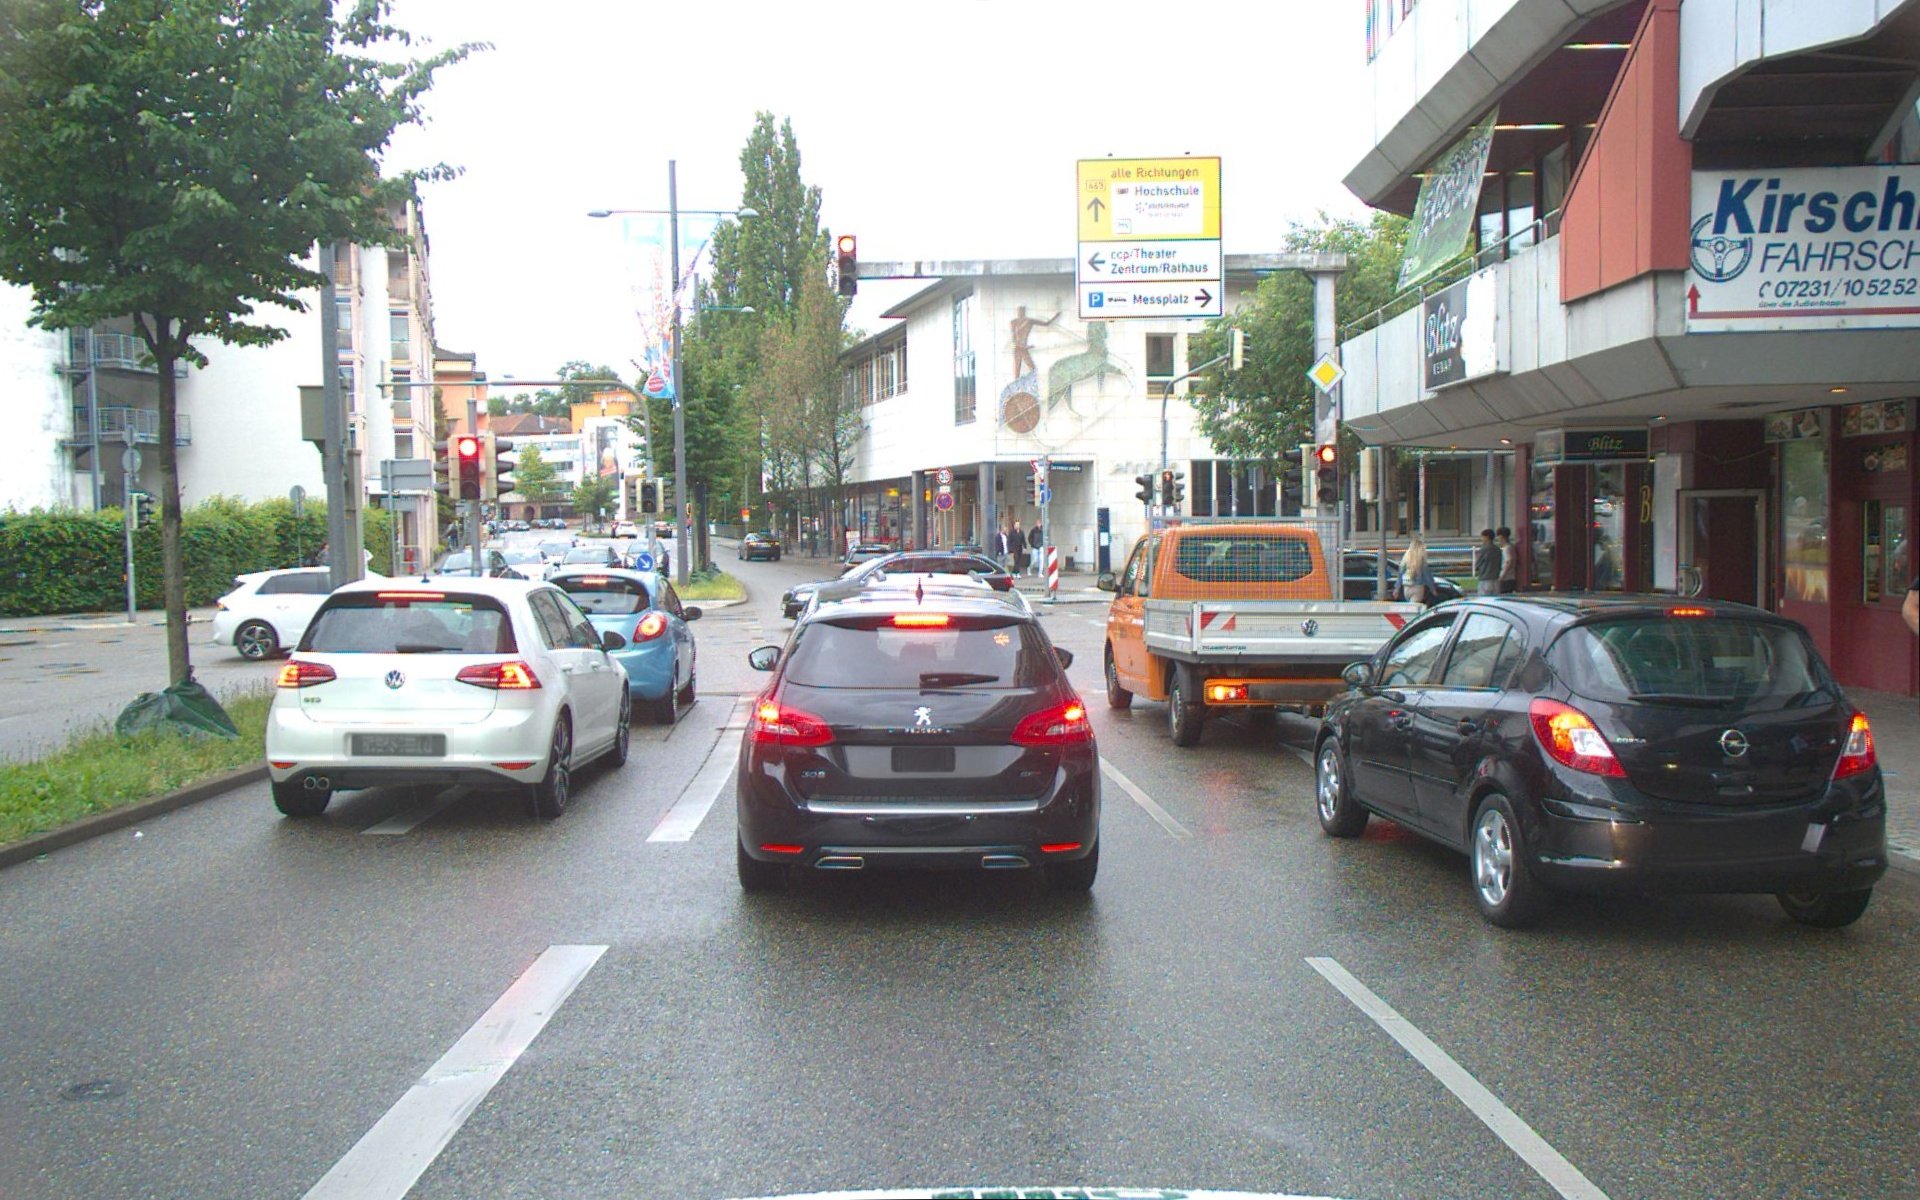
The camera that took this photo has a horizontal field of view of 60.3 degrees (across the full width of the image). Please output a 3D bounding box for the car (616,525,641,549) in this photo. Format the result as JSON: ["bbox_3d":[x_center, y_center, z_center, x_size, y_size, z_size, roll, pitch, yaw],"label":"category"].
[{"bbox_3d":[-29.200,-5.539,145.601,1.679,1.915,3.980,1,-1,-18],"label":"car"}]

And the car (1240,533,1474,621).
[{"bbox_3d":[7.779,-0.468,32.504,4.152,1.592,1.700,-1,1,-12],"label":"car"}]

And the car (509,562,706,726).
[{"bbox_3d":[-3.589,0.382,17.357,1.601,1.512,3.606,1,2,-6],"label":"car"}]

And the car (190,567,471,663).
[{"bbox_3d":[-10.411,0.230,27.670,4.221,1.512,1.632,0,1,-15],"label":"car"}]

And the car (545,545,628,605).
[{"bbox_3d":[-10.720,-0.682,47.752,1.710,1.607,3.996,1,-1,-4],"label":"car"}]

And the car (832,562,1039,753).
[{"bbox_3d":[-0.230,0.426,15.303,1.662,1.512,3.793,1,2,-1],"label":"car"}]

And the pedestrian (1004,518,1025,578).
[{"bbox_3d":[1.795,-1.721,54.662,0.623,1.930,0.734,1,-1,6],"label":"pedestrian"}]

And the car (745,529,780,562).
[{"bbox_3d":[-10.599,-2.880,88.563,1.693,1.516,4.722,1,-1,-9],"label":"car"}]

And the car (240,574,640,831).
[{"bbox_3d":[-3.351,0.566,11.416,1.742,1.454,3.840,1,1,-4],"label":"car"}]

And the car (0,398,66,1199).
[{"bbox_3d":[-3.042,0.453,1.435,1.873,1.903,5.071,1,-1,-2],"label":"car"}]

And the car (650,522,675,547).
[{"bbox_3d":[-26.417,-5.777,146.904,1.679,1.970,3.980,1,-1,-18],"label":"car"}]

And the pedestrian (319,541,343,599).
[{"bbox_3d":[-19.503,-0.923,51.297,0.528,1.778,0.564,1,-1,-6],"label":"pedestrian"}]

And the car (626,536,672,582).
[{"bbox_3d":[-12.283,-1.584,65.244,1.713,1.669,3.989,1,-1,-11],"label":"car"}]

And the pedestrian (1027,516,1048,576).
[{"bbox_3d":[2.554,-1.760,54.352,0.623,1.930,0.734,1,-1,6],"label":"pedestrian"}]

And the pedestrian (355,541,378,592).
[{"bbox_3d":[-20.517,-1.154,57.186,0.584,1.758,0.655,1,-1,-9],"label":"pedestrian"}]

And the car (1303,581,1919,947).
[{"bbox_3d":[3.102,0.653,8.681,1.584,1.454,3.839,1,1,-4],"label":"car"}]

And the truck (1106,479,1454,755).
[{"bbox_3d":[2.821,0.075,15.910,2.133,2.210,5.018,1,2,-3],"label":"truck"}]

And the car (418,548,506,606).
[{"bbox_3d":[-13.741,-0.656,45.806,1.543,1.512,3.607,1,2,-4],"label":"car"}]

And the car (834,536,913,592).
[{"bbox_3d":[-2.587,-1.146,50.466,1.749,1.479,4.511,-2,3,5],"label":"car"}]

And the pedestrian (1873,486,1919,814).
[{"bbox_3d":[5.744,0.269,9.308,0.726,1.847,0.774,-4,-1,11],"label":"pedestrian"}]

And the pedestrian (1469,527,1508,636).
[{"bbox_3d":[8.422,-0.293,26.388,0.417,1.712,0.450,-1,-1,-2],"label":"pedestrian"}]

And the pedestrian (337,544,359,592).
[{"bbox_3d":[-20.970,-1.094,56.650,0.569,1.627,0.526,1,-1,-7],"label":"pedestrian"}]

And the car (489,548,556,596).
[{"bbox_3d":[-14.199,-0.931,53.872,1.602,1.512,3.605,1,2,-7],"label":"car"}]

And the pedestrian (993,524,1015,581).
[{"bbox_3d":[1.409,-1.510,53.120,0.623,1.788,0.734,1,-1,6],"label":"pedestrian"}]

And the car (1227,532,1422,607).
[{"bbox_3d":[7.905,-0.633,35.928,3.828,1.512,1.618,1,-1,-13],"label":"car"}]

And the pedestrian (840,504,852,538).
[{"bbox_3d":[-6.150,-4.257,89.119,0.461,1.778,0.537,1,-1,-21],"label":"pedestrian"}]

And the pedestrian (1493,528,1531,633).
[{"bbox_3d":[8.939,-0.309,26.788,0.388,1.668,0.504,-1,-1,0],"label":"pedestrian"}]

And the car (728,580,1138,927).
[{"bbox_3d":[-0.204,0.639,9.009,1.742,1.454,3.840,1,1,-3],"label":"car"}]

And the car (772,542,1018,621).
[{"bbox_3d":[-1.306,-0.366,32.972,4.645,1.512,1.631,0,1,-16],"label":"car"}]

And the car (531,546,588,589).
[{"bbox_3d":[-14.754,-1.201,61.046,1.602,1.512,3.605,1,2,-7],"label":"car"}]

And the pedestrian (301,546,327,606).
[{"bbox_3d":[-19.349,-0.703,49.535,0.529,1.778,0.746,1,-1,-9],"label":"pedestrian"}]
